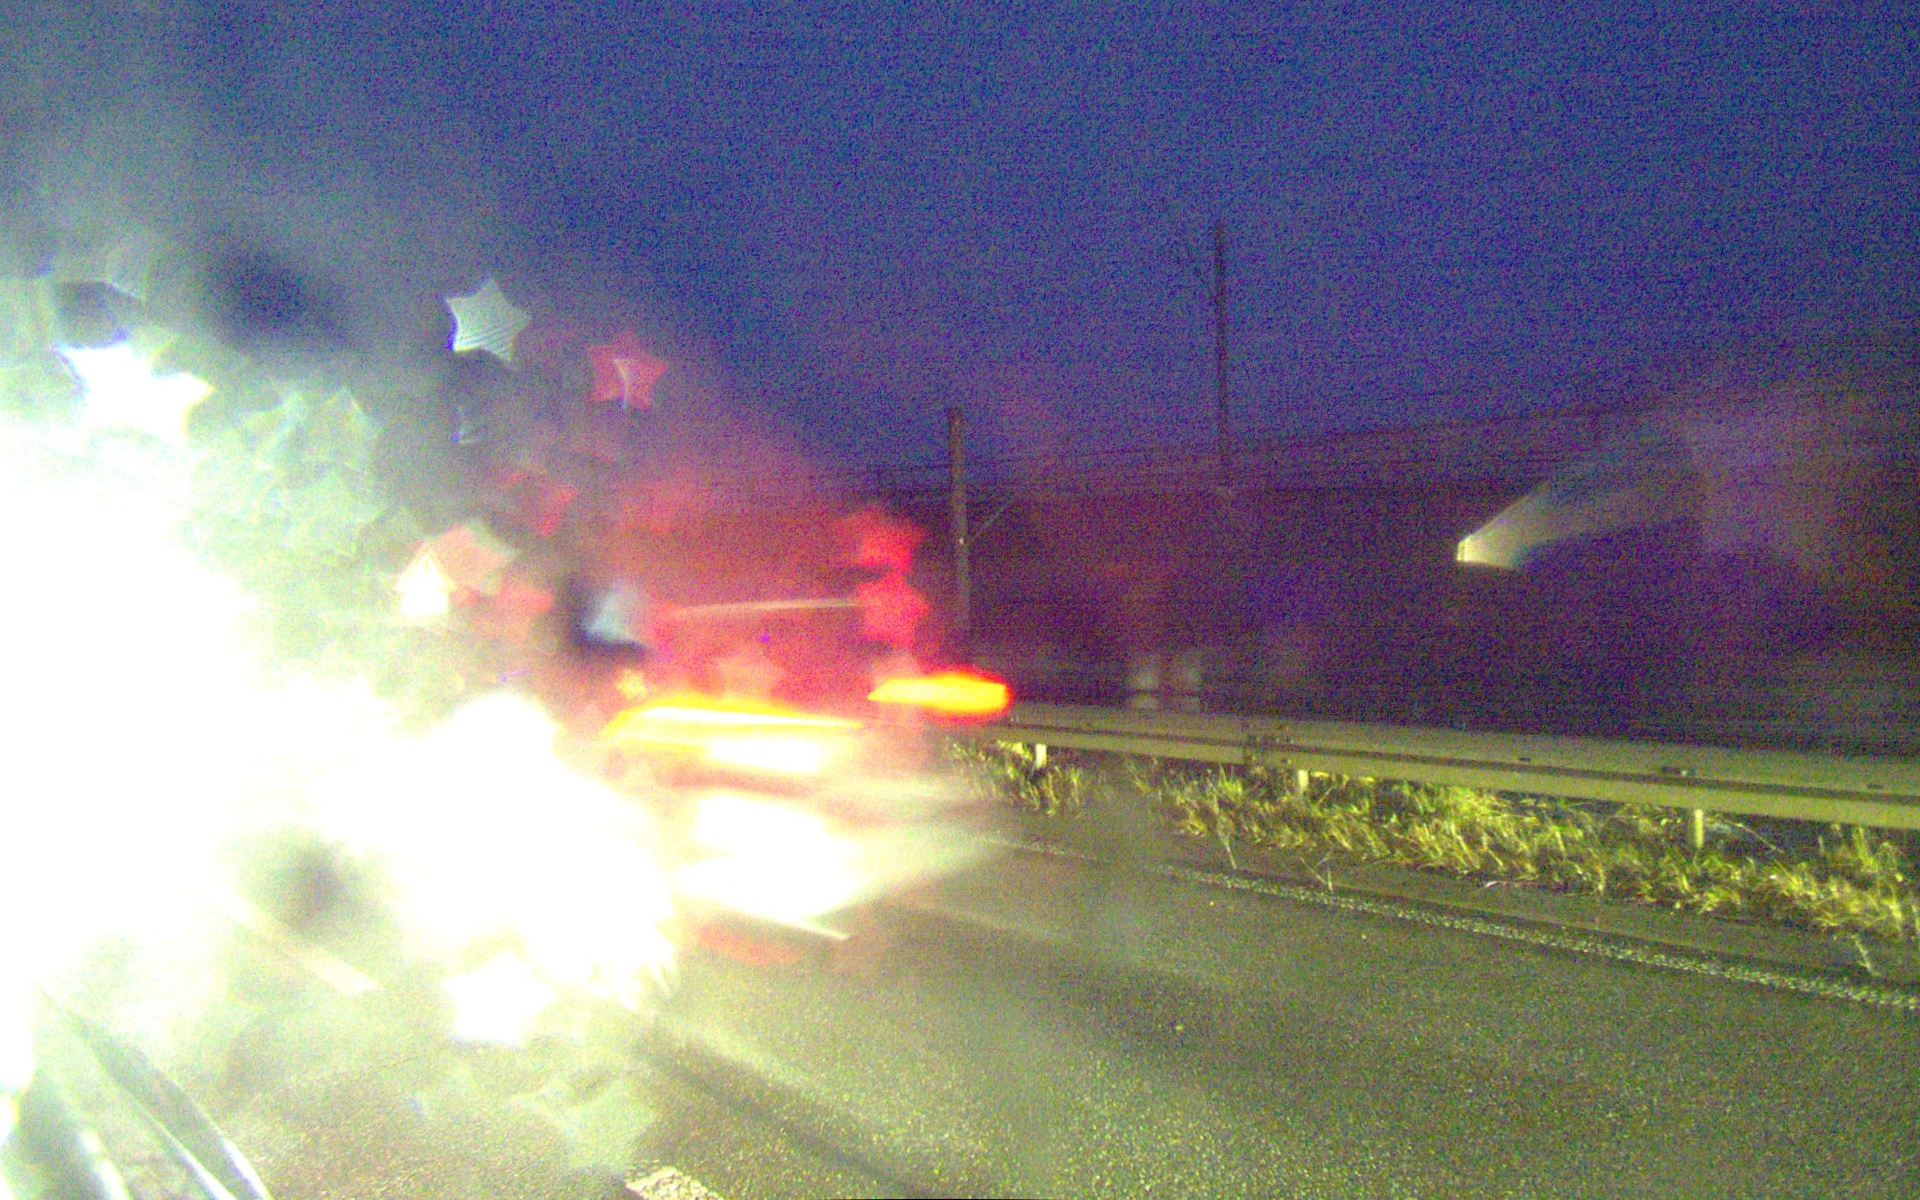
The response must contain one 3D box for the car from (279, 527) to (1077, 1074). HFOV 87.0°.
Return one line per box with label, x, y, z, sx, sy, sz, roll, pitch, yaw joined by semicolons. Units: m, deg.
car;-1.661;0.669;5.175;4.121;1.668;1.932;-1;-2;40
